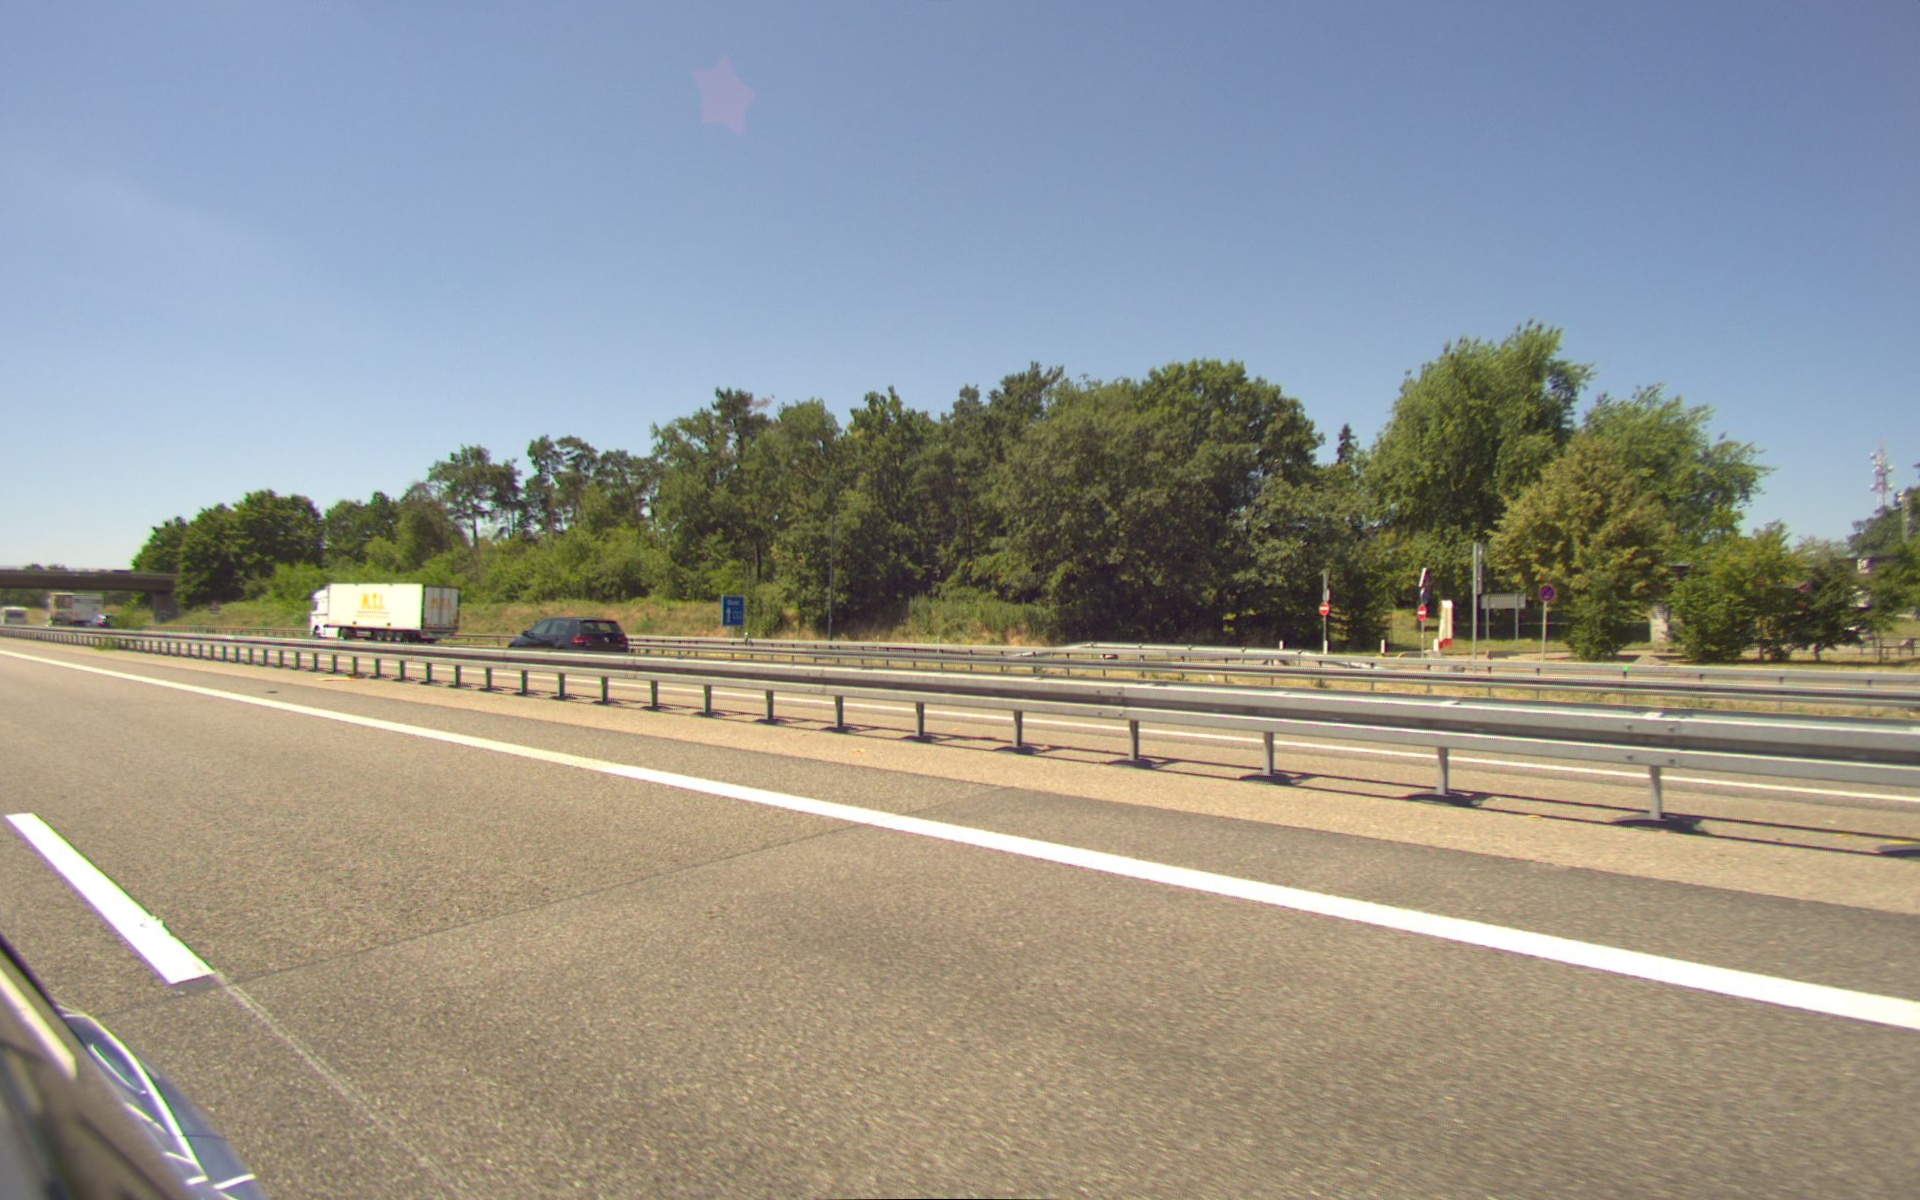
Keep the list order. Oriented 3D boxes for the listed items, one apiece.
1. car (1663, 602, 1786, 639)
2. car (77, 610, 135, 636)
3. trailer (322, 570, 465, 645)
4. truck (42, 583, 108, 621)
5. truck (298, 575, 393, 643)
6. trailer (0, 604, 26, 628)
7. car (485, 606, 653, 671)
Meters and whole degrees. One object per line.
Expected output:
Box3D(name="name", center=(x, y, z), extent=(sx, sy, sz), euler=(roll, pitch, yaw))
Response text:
Box3D(name="car", center=(44.697, 1.188, 59.284), extent=(2.438, 2.006, 5.255), euler=(-2, 0, -38))
Box3D(name="car", center=(-54.317, 1.464, 64.350), extent=(4.887, 1.563, 2.031), euler=(-1, -3, 41))
Box3D(name="trailer", center=(-40.586, 0.649, 72.160), extent=(13.732, 4.865, 3.044), euler=(-1, -4, 35))
Box3D(name="truck", center=(-99.863, 0.325, 114.053), extent=(16.858, 4.026, 3.291), euler=(-1, -2, 41))
Box3D(name="truck", center=(-46.210, 0.757, 76.057), extent=(7.697, 4.865, 3.044), euler=(-1, -4, 35))
Box3D(name="trailer", center=(-112.819, 1.917, 119.975), extent=(5.071, 2.769, 2.451), euler=(-1, -3, 40))
Box3D(name="car", center=(-10.421, 1.012, 26.806), extent=(4.887, 1.563, 2.031), euler=(-1, -3, 41))
